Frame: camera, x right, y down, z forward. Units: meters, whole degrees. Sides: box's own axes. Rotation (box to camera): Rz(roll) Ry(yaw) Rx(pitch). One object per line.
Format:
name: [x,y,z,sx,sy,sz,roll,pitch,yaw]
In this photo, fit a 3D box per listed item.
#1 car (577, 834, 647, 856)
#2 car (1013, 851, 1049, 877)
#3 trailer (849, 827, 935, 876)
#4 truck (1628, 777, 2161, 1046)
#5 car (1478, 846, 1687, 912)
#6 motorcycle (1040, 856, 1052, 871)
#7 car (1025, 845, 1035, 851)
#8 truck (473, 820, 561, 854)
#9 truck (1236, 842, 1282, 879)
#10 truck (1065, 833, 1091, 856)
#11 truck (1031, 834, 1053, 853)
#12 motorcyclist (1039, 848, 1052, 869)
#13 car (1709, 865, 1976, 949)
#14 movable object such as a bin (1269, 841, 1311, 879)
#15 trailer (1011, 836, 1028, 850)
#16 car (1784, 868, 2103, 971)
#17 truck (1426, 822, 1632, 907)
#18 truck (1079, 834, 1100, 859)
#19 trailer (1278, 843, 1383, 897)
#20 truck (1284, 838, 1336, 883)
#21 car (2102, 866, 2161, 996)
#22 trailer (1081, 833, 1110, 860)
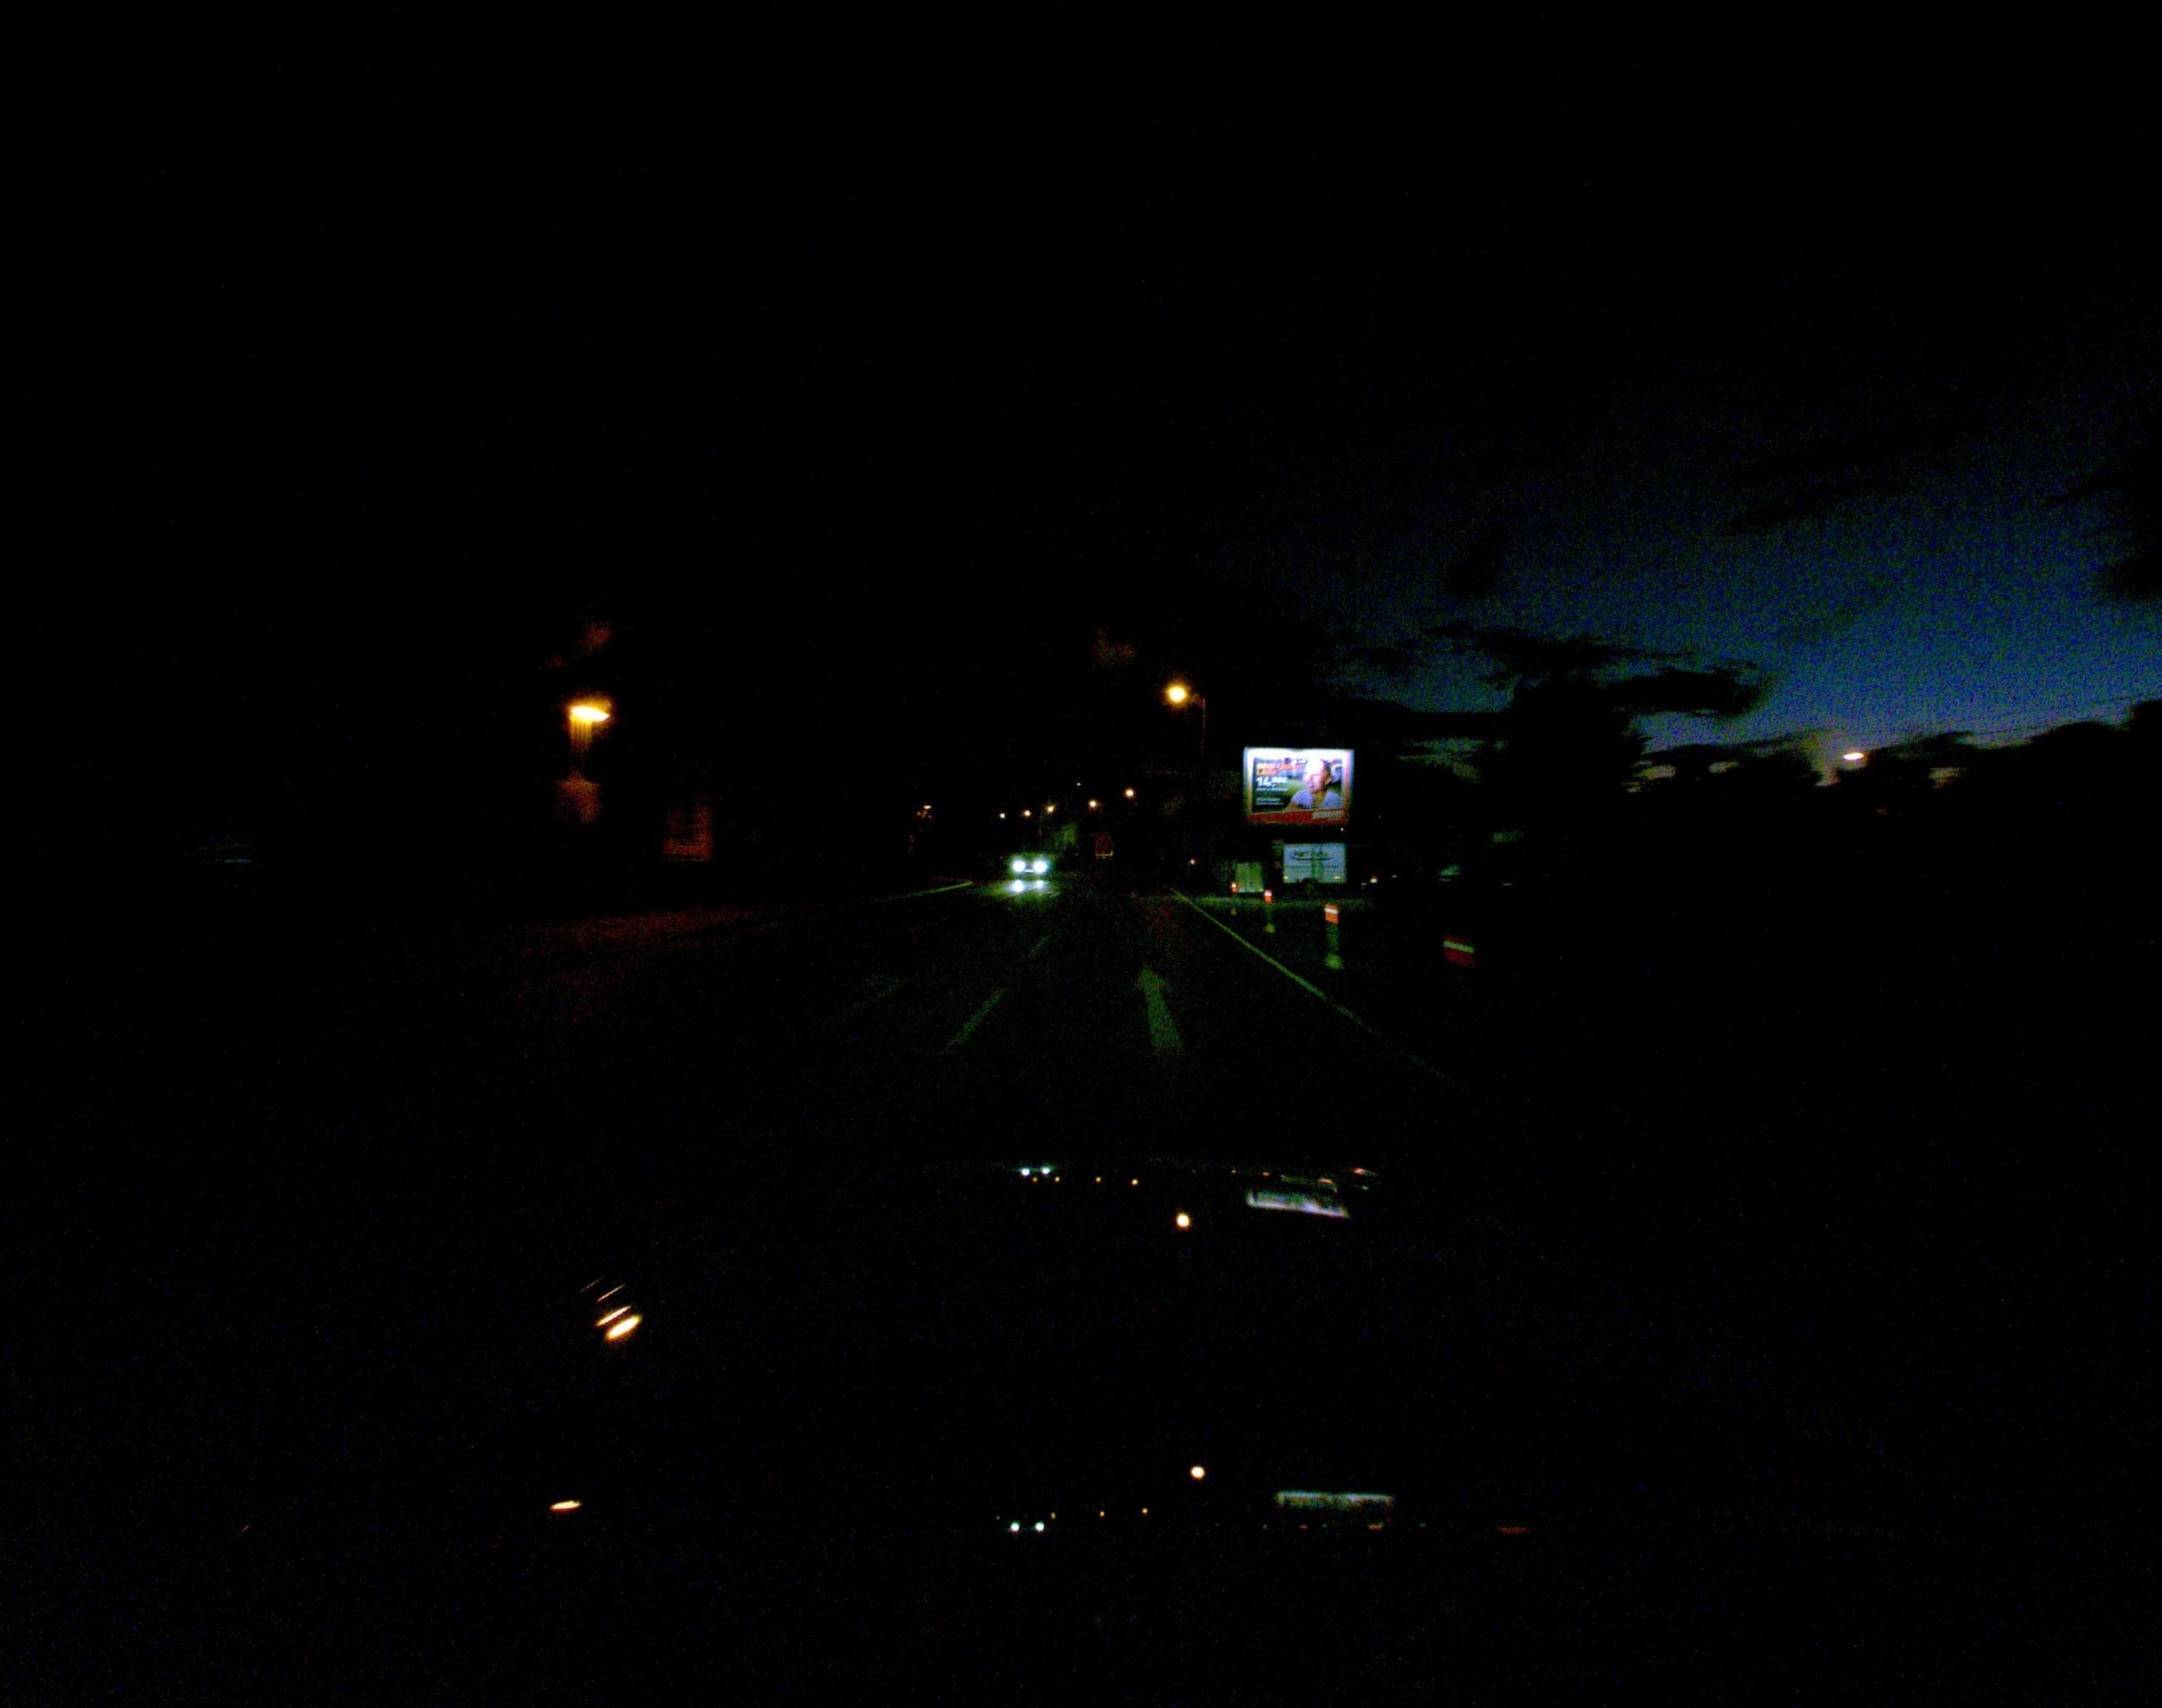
car: [-36.859,-0.709,64.088,4.338,1.589,1.903,2,0,-13]
car: [-3.338,0.663,55.571,1.986,1.627,4.754,1,0,2]
trailer: [-10.720,-0.145,46.339,4.332,2.720,2.001,0,1,1]
truck: [10.456,0.497,10.047,2.369,2.283,7.746,1,0,1]
car: [15.040,0.717,24.689,5.050,1.836,1.992,1,0,5]
motorcycle: [-3.158,0.812,72.827,0.995,1.305,2.823,1,0,-3]
car: [-12.063,-1.435,192.588,1.855,1.519,3.801,-1,1,-13]
truck: [-43.273,-1.279,62.597,5.034,2.389,2.153,2,0,-15]
truck: [12.467,0.413,57.617,2.173,2.422,7.325,2,0,4]
truck: [-0.565,-1.754,145.422,2.831,3.983,10.304,-1,1,-11]
truck: [-8.582,-2.402,177.965,3.521,3.983,10.307,-1,1,-10]
motorcyclist: [-3.160,0.414,72.806,1.132,1.900,0.832,1,0,-4]
car: [15.334,1.036,16.538,3.843,1.515,1.709,1,0,0]
movable object such as a bin: [15.998,0.437,62.608,2.219,2.724,3.866,2,0,1]
trailer: [-15.451,-2.729,205.366,2.692,3.464,7.767,1,0,-16]
car: [15.097,1.108,14.411,3.843,1.596,1.709,1,0,0]
truck: [14.836,0.330,27.262,5.510,2.599,2.473,1,0,1]
truck: [1.396,-1.303,134.744,2.827,3.983,6.037,0,1,-6]
trailer: [9.764,0.577,31.890,3.712,2.013,1.624,0,1,26]
truck: [15.479,0.403,55.514,2.172,2.748,7.328,2,0,6]
car: [15.376,1.000,9.885,3.843,1.604,1.709,1,0,0]
trailer: [2.158,-1.254,128.227,2.806,3.983,13.941,0,1,-7]
